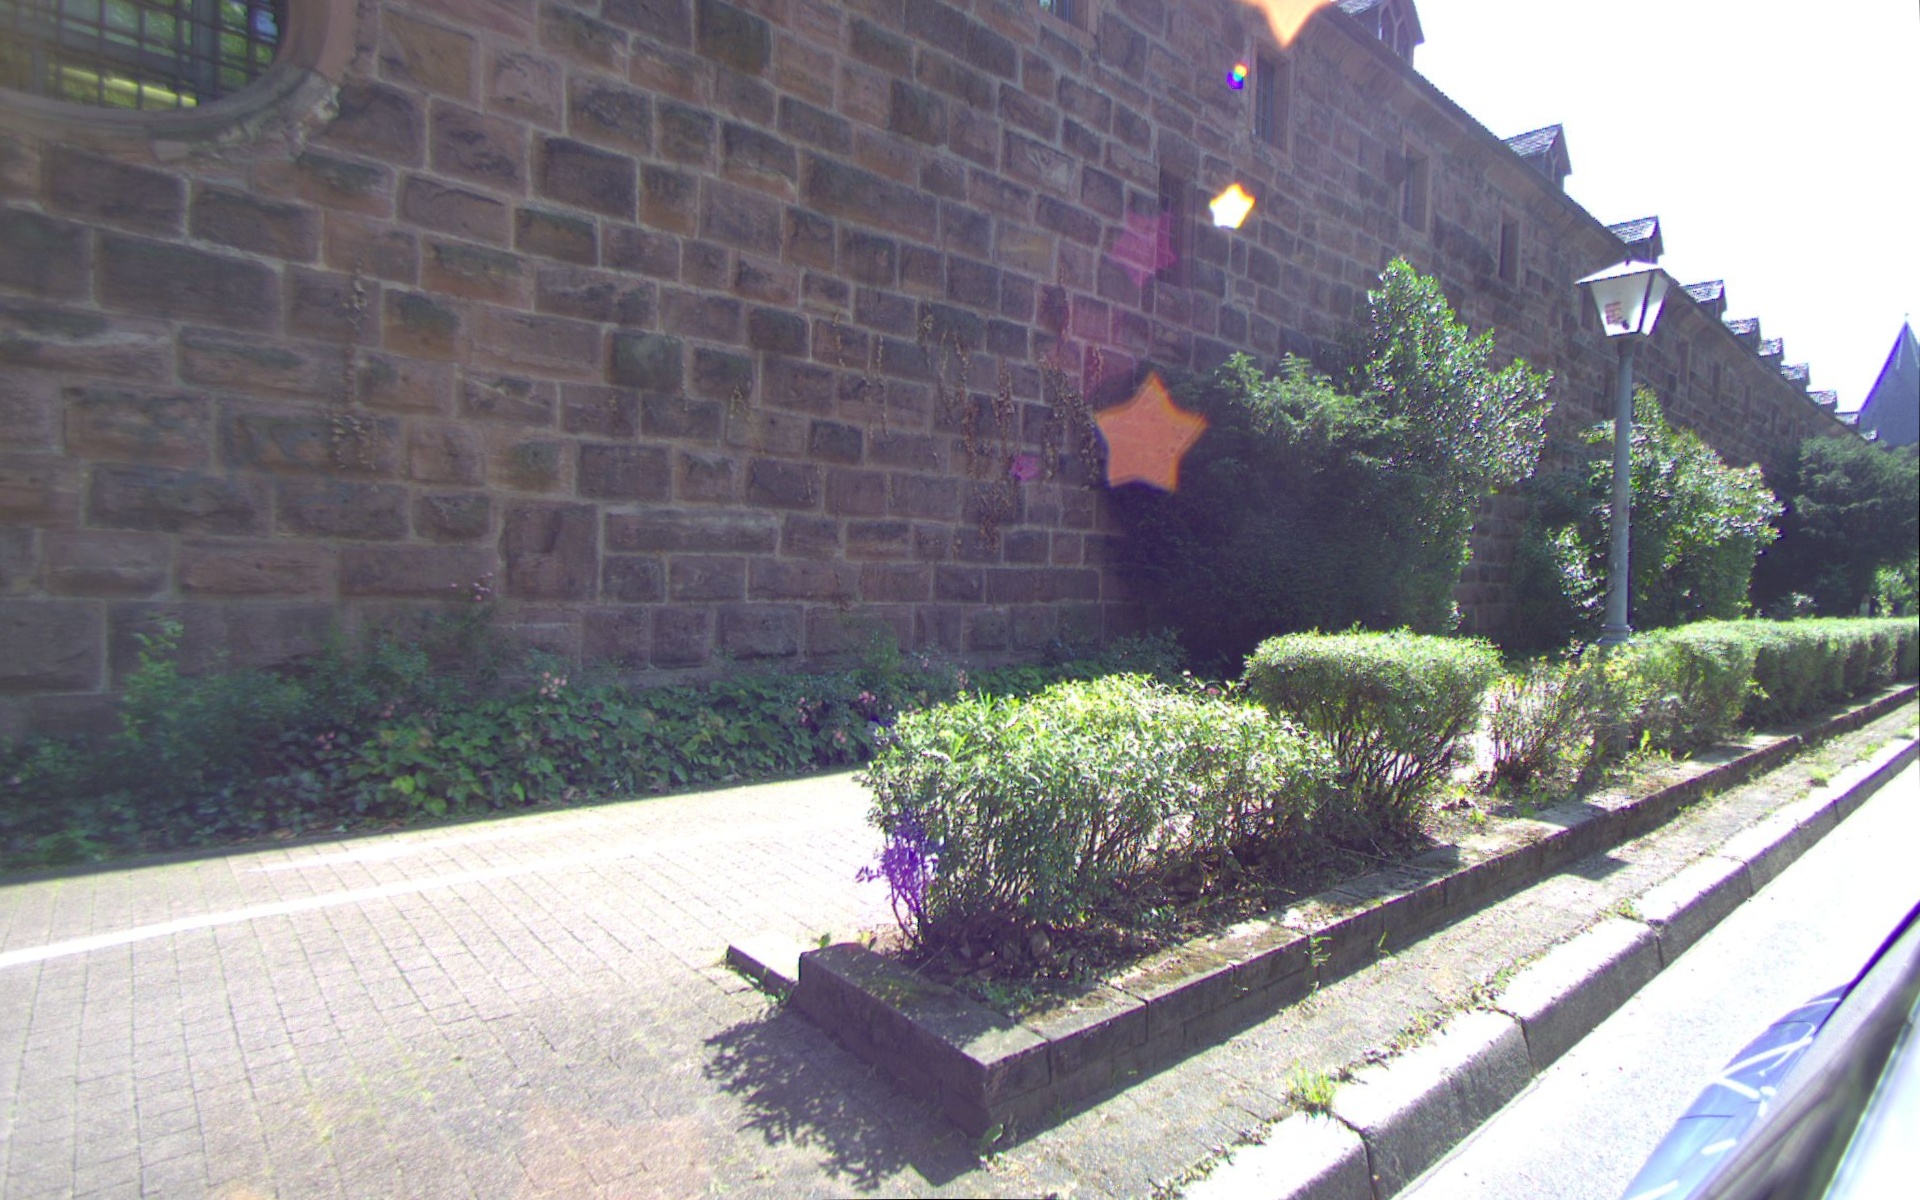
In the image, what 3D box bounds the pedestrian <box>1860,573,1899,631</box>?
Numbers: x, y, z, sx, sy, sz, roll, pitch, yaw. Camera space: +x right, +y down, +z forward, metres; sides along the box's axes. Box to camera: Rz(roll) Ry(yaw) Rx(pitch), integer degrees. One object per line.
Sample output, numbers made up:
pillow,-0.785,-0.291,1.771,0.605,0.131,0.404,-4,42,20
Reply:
pedestrian,27.471,0.058,30.237,0.692,1.672,0.700,1,2,-38
